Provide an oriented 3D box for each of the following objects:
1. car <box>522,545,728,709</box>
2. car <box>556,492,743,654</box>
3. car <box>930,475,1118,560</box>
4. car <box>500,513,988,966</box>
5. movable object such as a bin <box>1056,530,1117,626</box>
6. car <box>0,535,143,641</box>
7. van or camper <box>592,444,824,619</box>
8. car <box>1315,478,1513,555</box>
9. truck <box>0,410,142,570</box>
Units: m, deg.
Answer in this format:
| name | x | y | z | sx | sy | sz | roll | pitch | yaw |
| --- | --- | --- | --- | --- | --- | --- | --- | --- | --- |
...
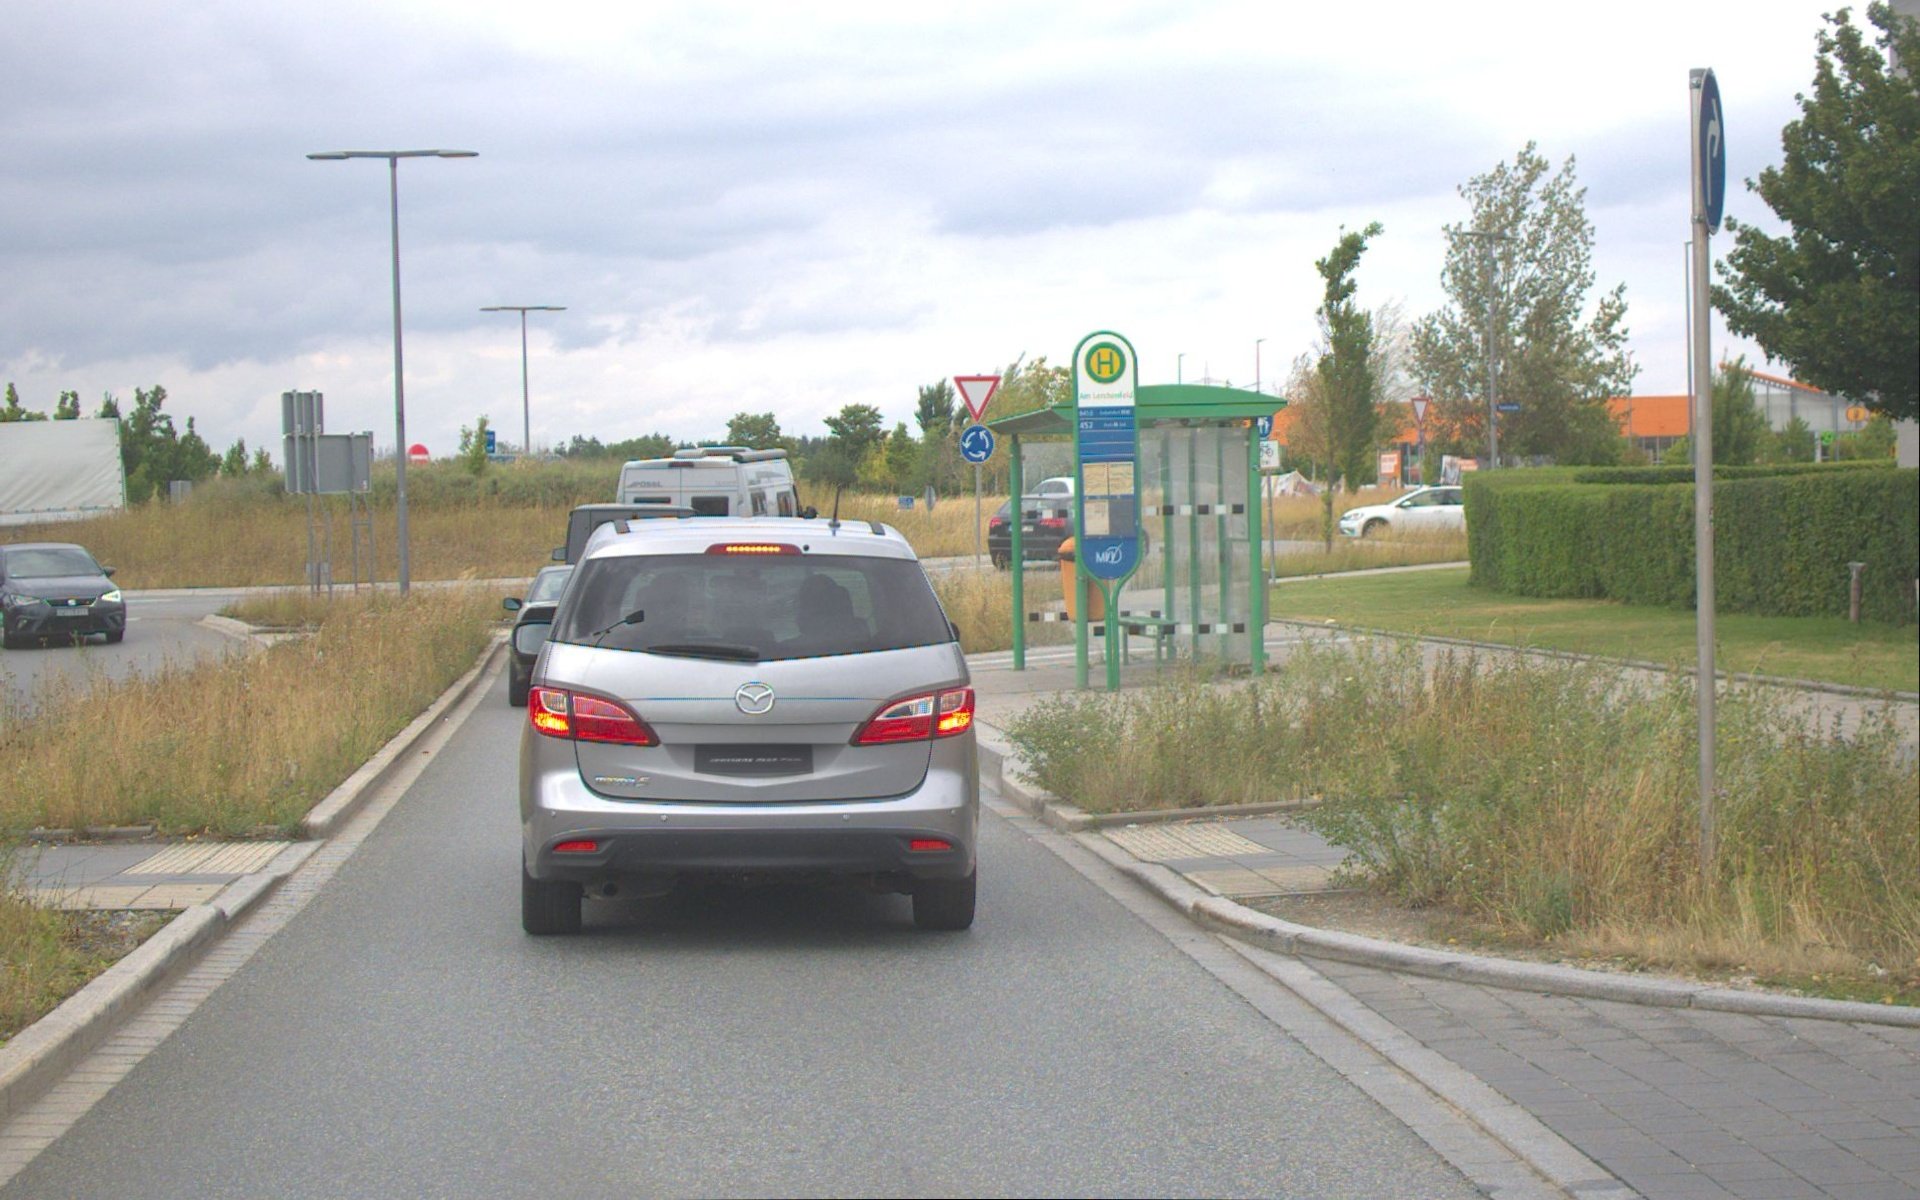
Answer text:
| name | x | y | z | sx | sy | sz | roll | pitch | yaw |
| --- | --- | --- | --- | --- | --- | --- | --- | --- | --- |
| car | -3.208 | 0.214 | 33.605 | 1.844 | 1.413 | 4.225 | -1 | 2 | -4 |
| car | -3.707 | -0.358 | 41.809 | 2.058 | 1.819 | 4.787 | -1 | 1 | -3 |
| car | 1.236 | -1.557 | 64.547 | 1.996 | 1.510 | 3.995 | -1 | 1 | 26 |
| car | -0.917 | 0.444 | 14.123 | 1.729 | 1.594 | 3.808 | 0 | 2 | -5 |
| movable object such as a bin | 1.068 | -0.190 | 29.086 | 0.456 | 0.795 | 0.380 | -1 | 1 | -6 |
| car | -13.318 | -0.176 | 50.475 | 1.841 | 1.402 | 4.001 | -4 | 2 | -23 |
| van or camper | -3.726 | -1.048 | 51.959 | 2.303 | 2.497 | 5.204 | 0 | 1 | 10 |
| car | 10.856 | -2.004 | 82.427 | 4.603 | 1.751 | 2.000 | -1 | 1 | 5 |
| truck | -25.125 | -2.641 | 84.155 | 9.305 | 3.893 | 3.143 | -2 | 1 | -32 |
